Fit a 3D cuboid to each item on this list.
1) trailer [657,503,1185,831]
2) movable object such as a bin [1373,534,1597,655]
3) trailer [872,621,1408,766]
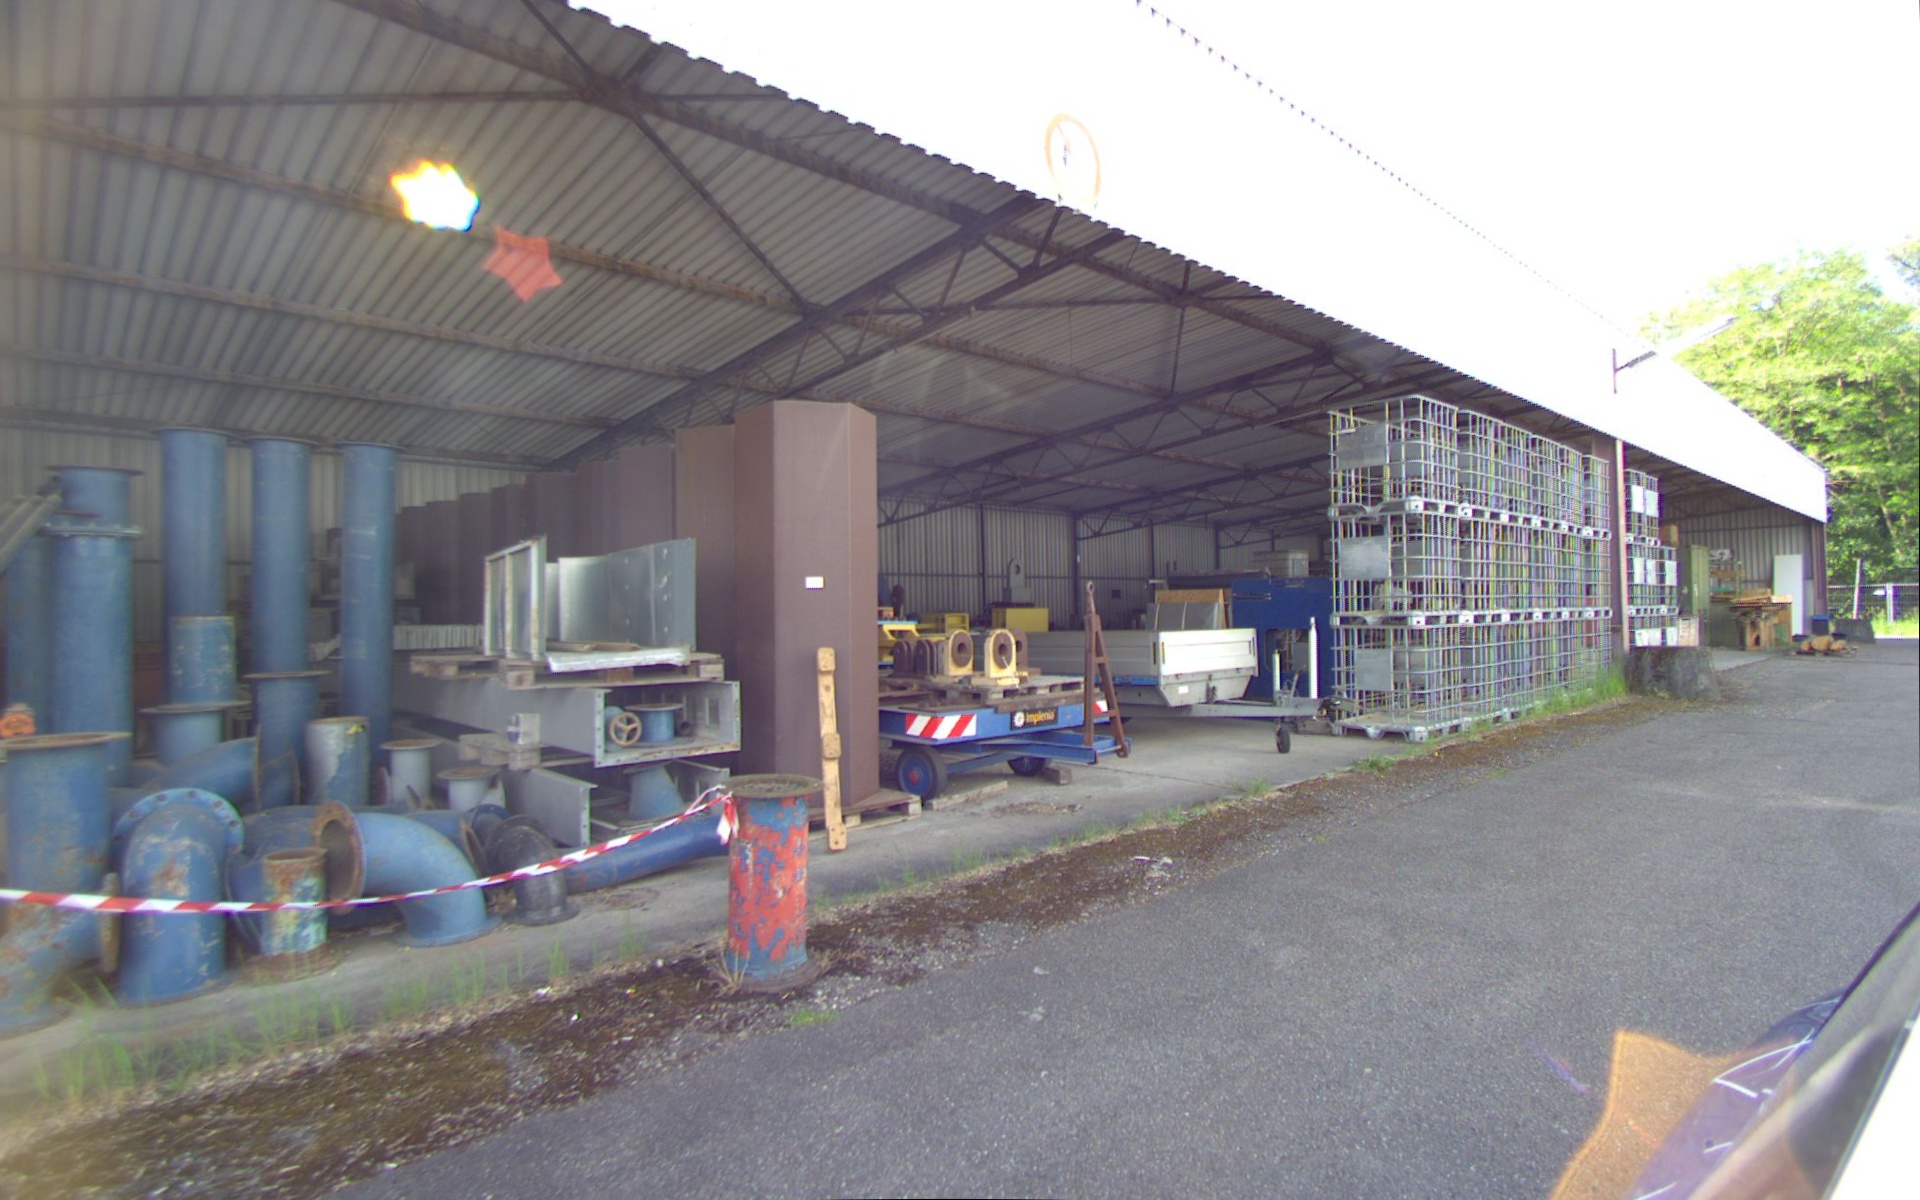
[{"bbox_3d":[-0.645,0.396,8.733,2.011,2.022,4.826,-1,0,-40],"label":"trailer"},{"bbox_3d":[13.037,-0.110,25.311,1.967,2.757,4.616,2,-1,-45],"label":"movable object such as a bin"},{"bbox_3d":[1.613,0.829,11.116,1.976,1.147,5.736,0,-1,-44],"label":"trailer"}]
